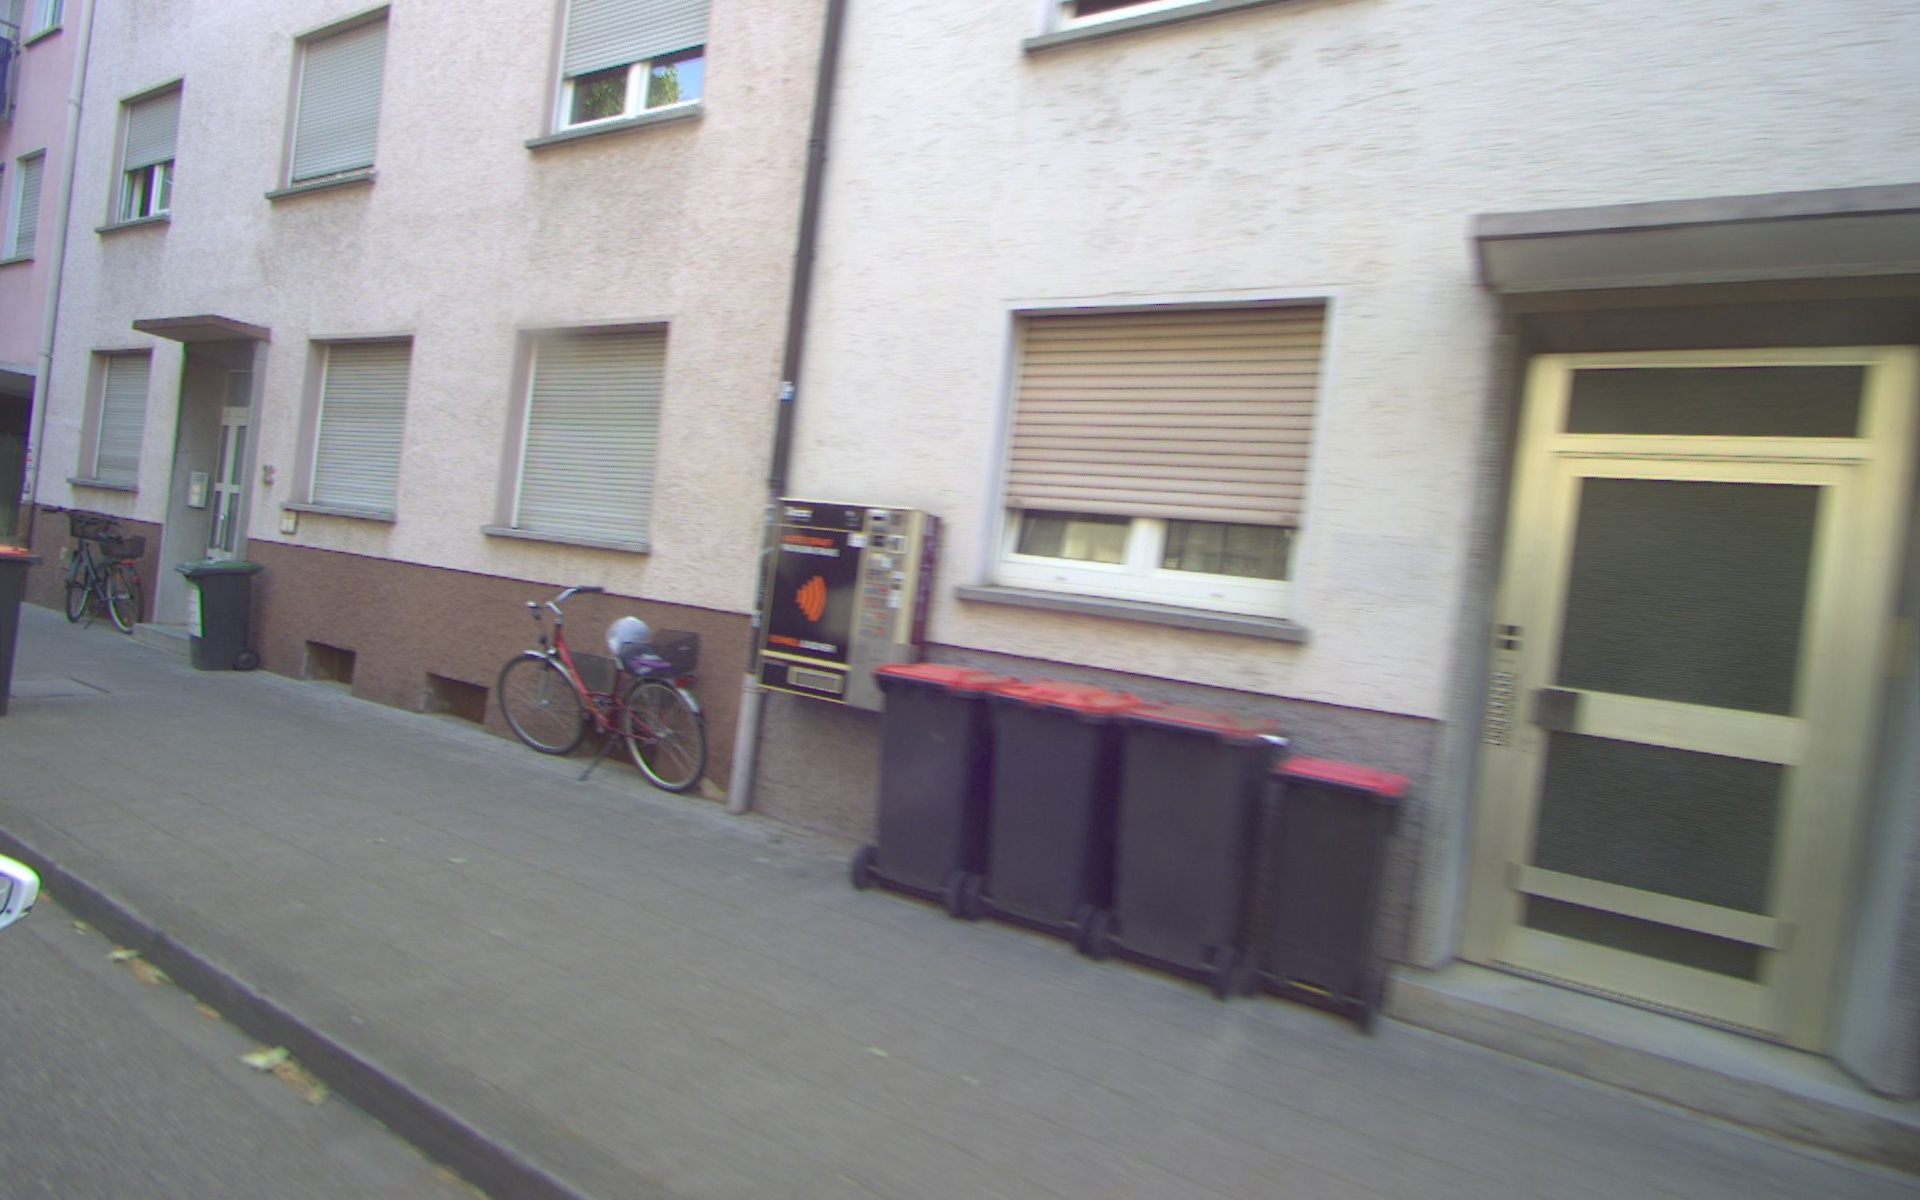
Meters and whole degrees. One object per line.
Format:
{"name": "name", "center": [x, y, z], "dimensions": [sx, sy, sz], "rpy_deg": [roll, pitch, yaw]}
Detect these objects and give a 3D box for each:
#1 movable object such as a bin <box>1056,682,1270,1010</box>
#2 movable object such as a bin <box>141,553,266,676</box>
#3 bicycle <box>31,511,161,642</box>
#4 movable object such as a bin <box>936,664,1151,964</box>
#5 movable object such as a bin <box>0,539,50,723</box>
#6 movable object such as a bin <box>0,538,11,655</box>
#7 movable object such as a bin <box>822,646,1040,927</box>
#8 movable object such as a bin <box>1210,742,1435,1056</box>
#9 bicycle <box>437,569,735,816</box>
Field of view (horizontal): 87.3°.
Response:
{"name": "movable object such as a bin", "center": [0.839, 0.936, 4.102], "dimensions": [0.560, 1.136, 0.628], "rpy_deg": [6, 0, 32]}
{"name": "movable object such as a bin", "center": [-6.507, 0.130, 8.661], "dimensions": [0.671, 0.963, 0.598], "rpy_deg": [6, 0, 32]}
{"name": "bicycle", "center": [-8.732, -0.259, 10.138], "dimensions": [1.888, 1.149, 0.453], "rpy_deg": [6, 3, 33]}
{"name": "movable object such as a bin", "center": [0.379, 0.879, 4.402], "dimensions": [0.583, 1.119, 0.657], "rpy_deg": [7, 1, 32]}
{"name": "movable object such as a bin", "center": [-6.135, 0.154, 6.067], "dimensions": [0.692, 1.094, 0.733], "rpy_deg": [6, 0, 32]}
{"name": "movable object such as a bin", "center": [-6.736, 0.098, 6.427], "dimensions": [0.682, 1.100, 0.768], "rpy_deg": [6, 0, 32]}
{"name": "movable object such as a bin", "center": [-0.123, 0.805, 4.695], "dimensions": [0.629, 1.112, 0.739], "rpy_deg": [6, 3, 32]}
{"name": "movable object such as a bin", "center": [1.392, 1.076, 3.834], "dimensions": [0.595, 0.946, 0.606], "rpy_deg": [7, 0, 32]}
{"name": "bicycle", "center": [-2.374, 0.494, 6.248], "dimensions": [2.041, 1.187, 0.536], "rpy_deg": [7, 5, 31]}
